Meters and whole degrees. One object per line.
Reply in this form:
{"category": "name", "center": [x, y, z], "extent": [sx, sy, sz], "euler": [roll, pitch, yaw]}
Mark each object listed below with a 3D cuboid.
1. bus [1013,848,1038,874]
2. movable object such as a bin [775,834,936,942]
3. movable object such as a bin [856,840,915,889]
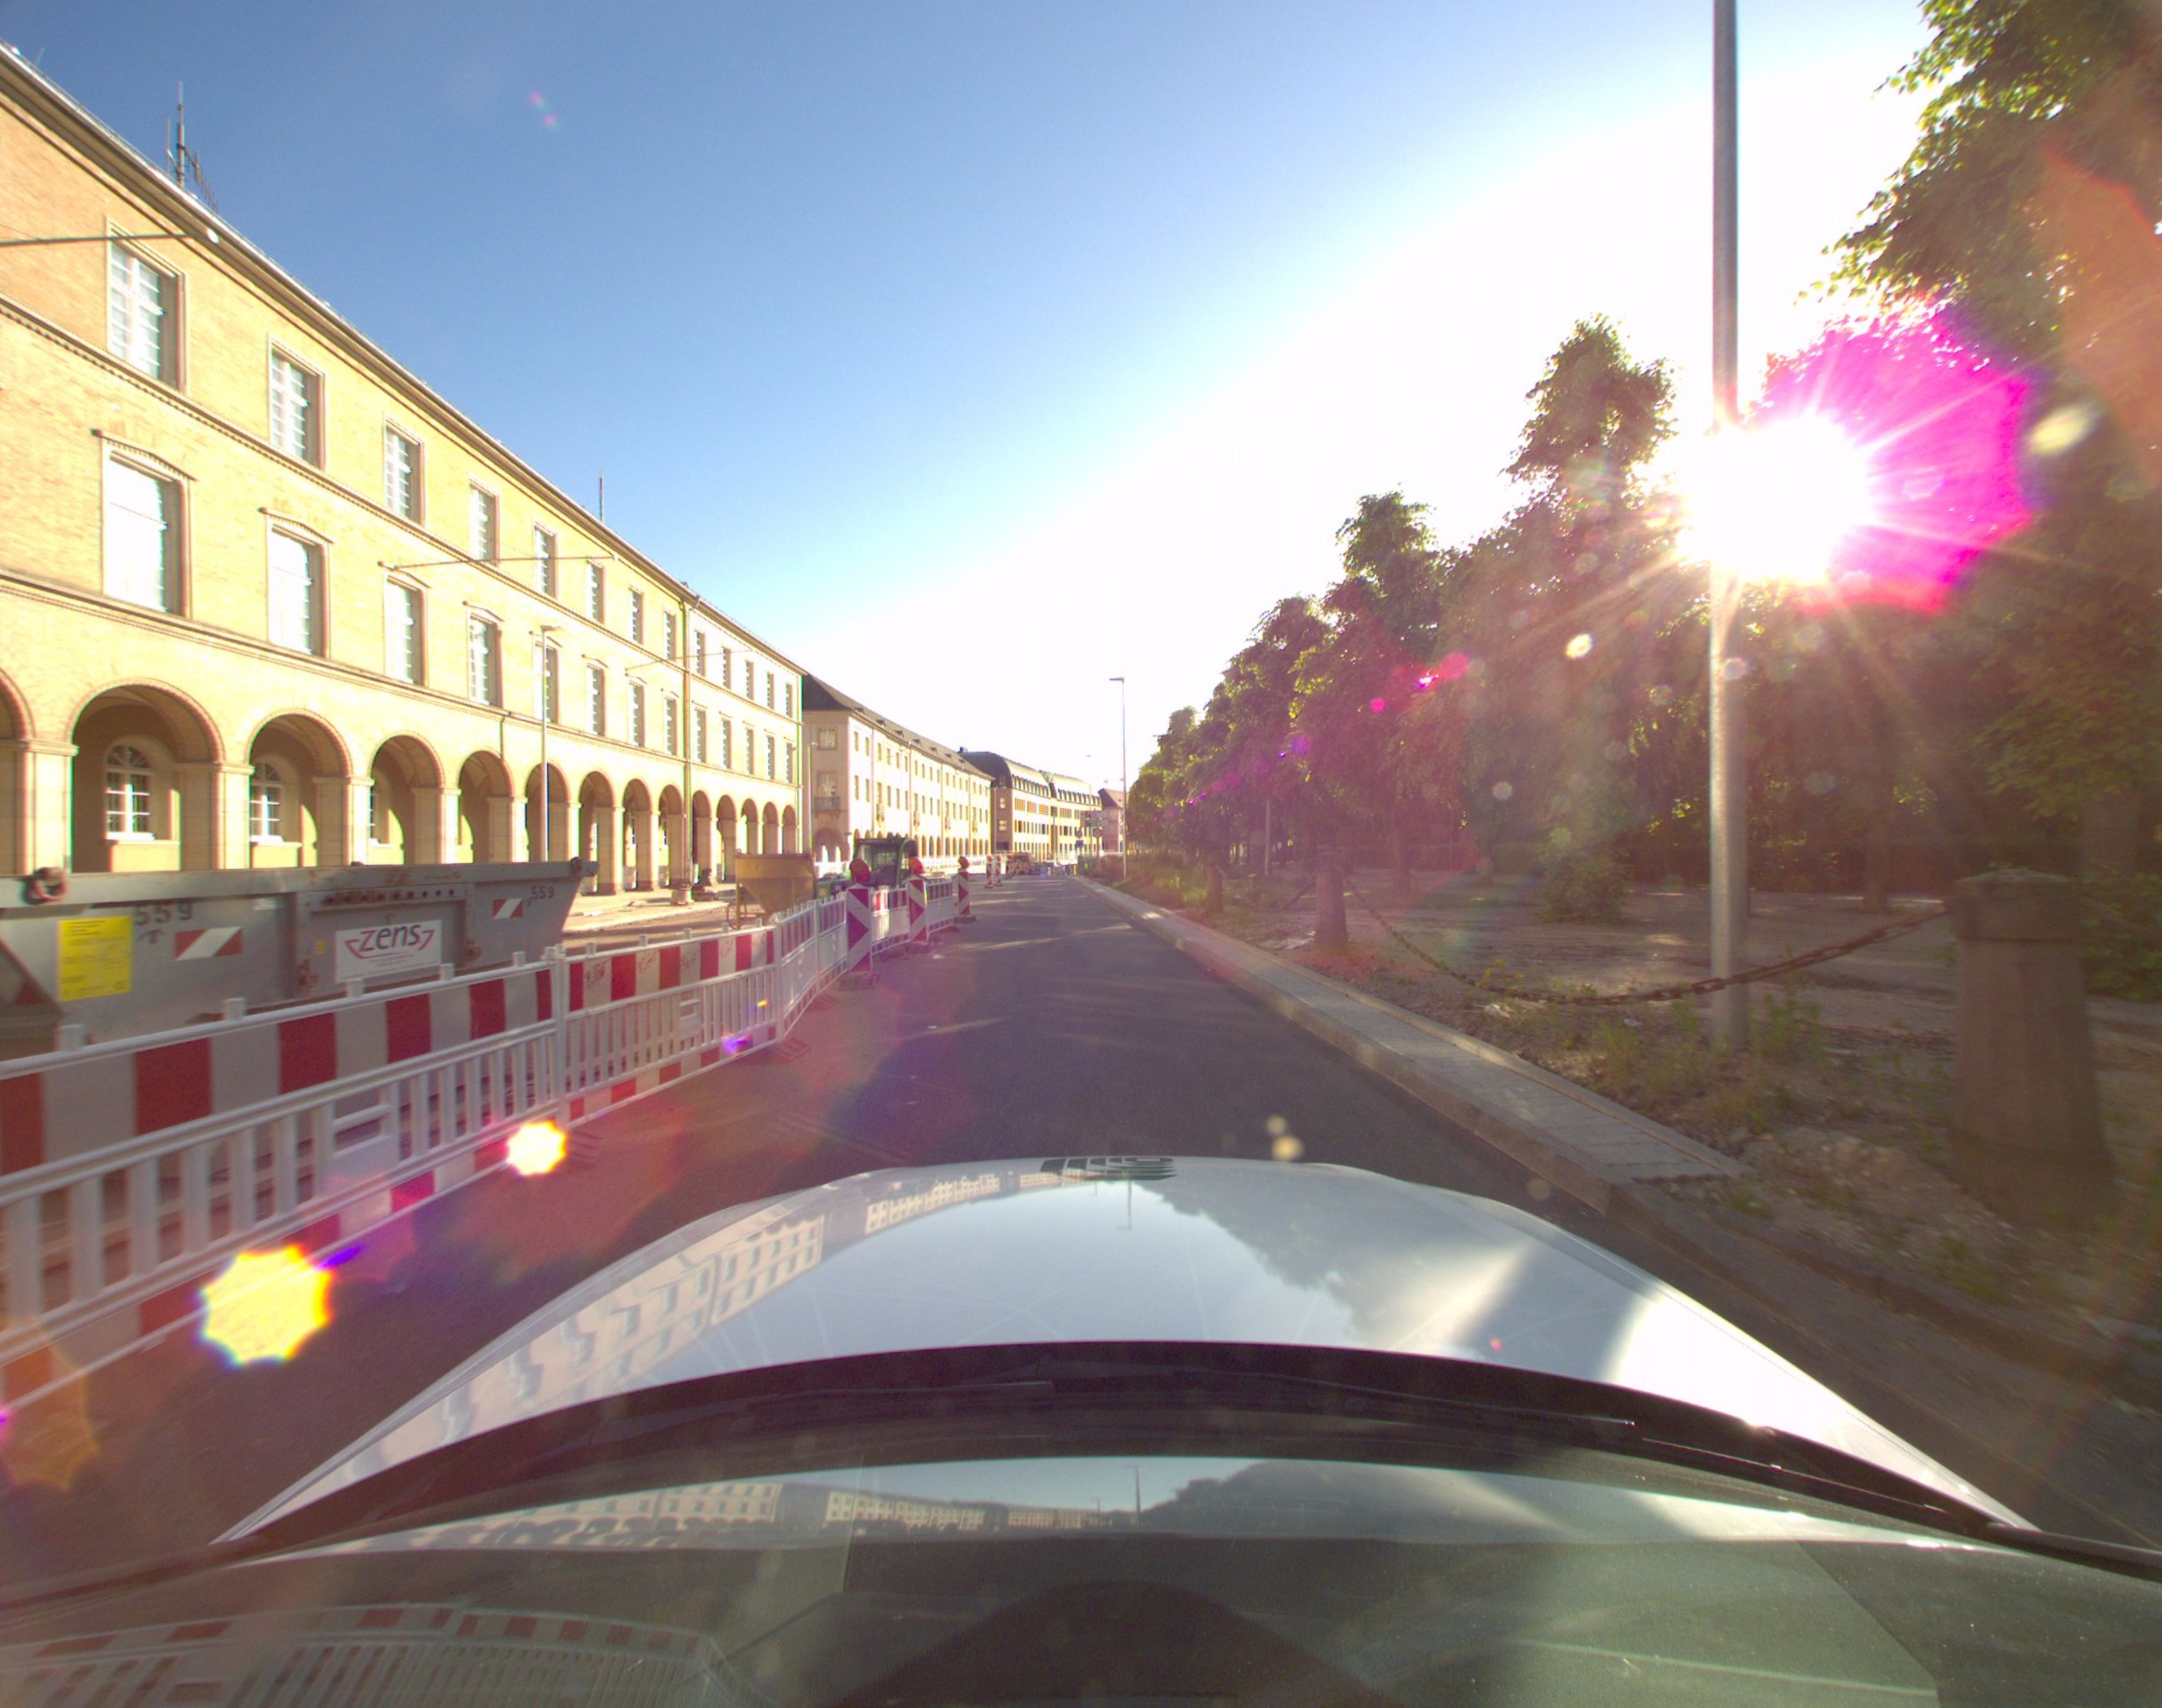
{"category": "bus", "center": [-5.939, 0.825, 87.356], "extent": [2.064, 2.687, 4.687], "euler": [-1, -2, 3]}
{"category": "movable object such as a bin", "center": [-4.475, 0.576, 16.958], "extent": [2.043, 1.949, 4.336], "euler": [-1, 1, 1]}
{"category": "movable object such as a bin", "center": [-10.522, 0.478, 44.132], "extent": [2.068, 2.475, 4.616], "euler": [-1, 1, 0]}
